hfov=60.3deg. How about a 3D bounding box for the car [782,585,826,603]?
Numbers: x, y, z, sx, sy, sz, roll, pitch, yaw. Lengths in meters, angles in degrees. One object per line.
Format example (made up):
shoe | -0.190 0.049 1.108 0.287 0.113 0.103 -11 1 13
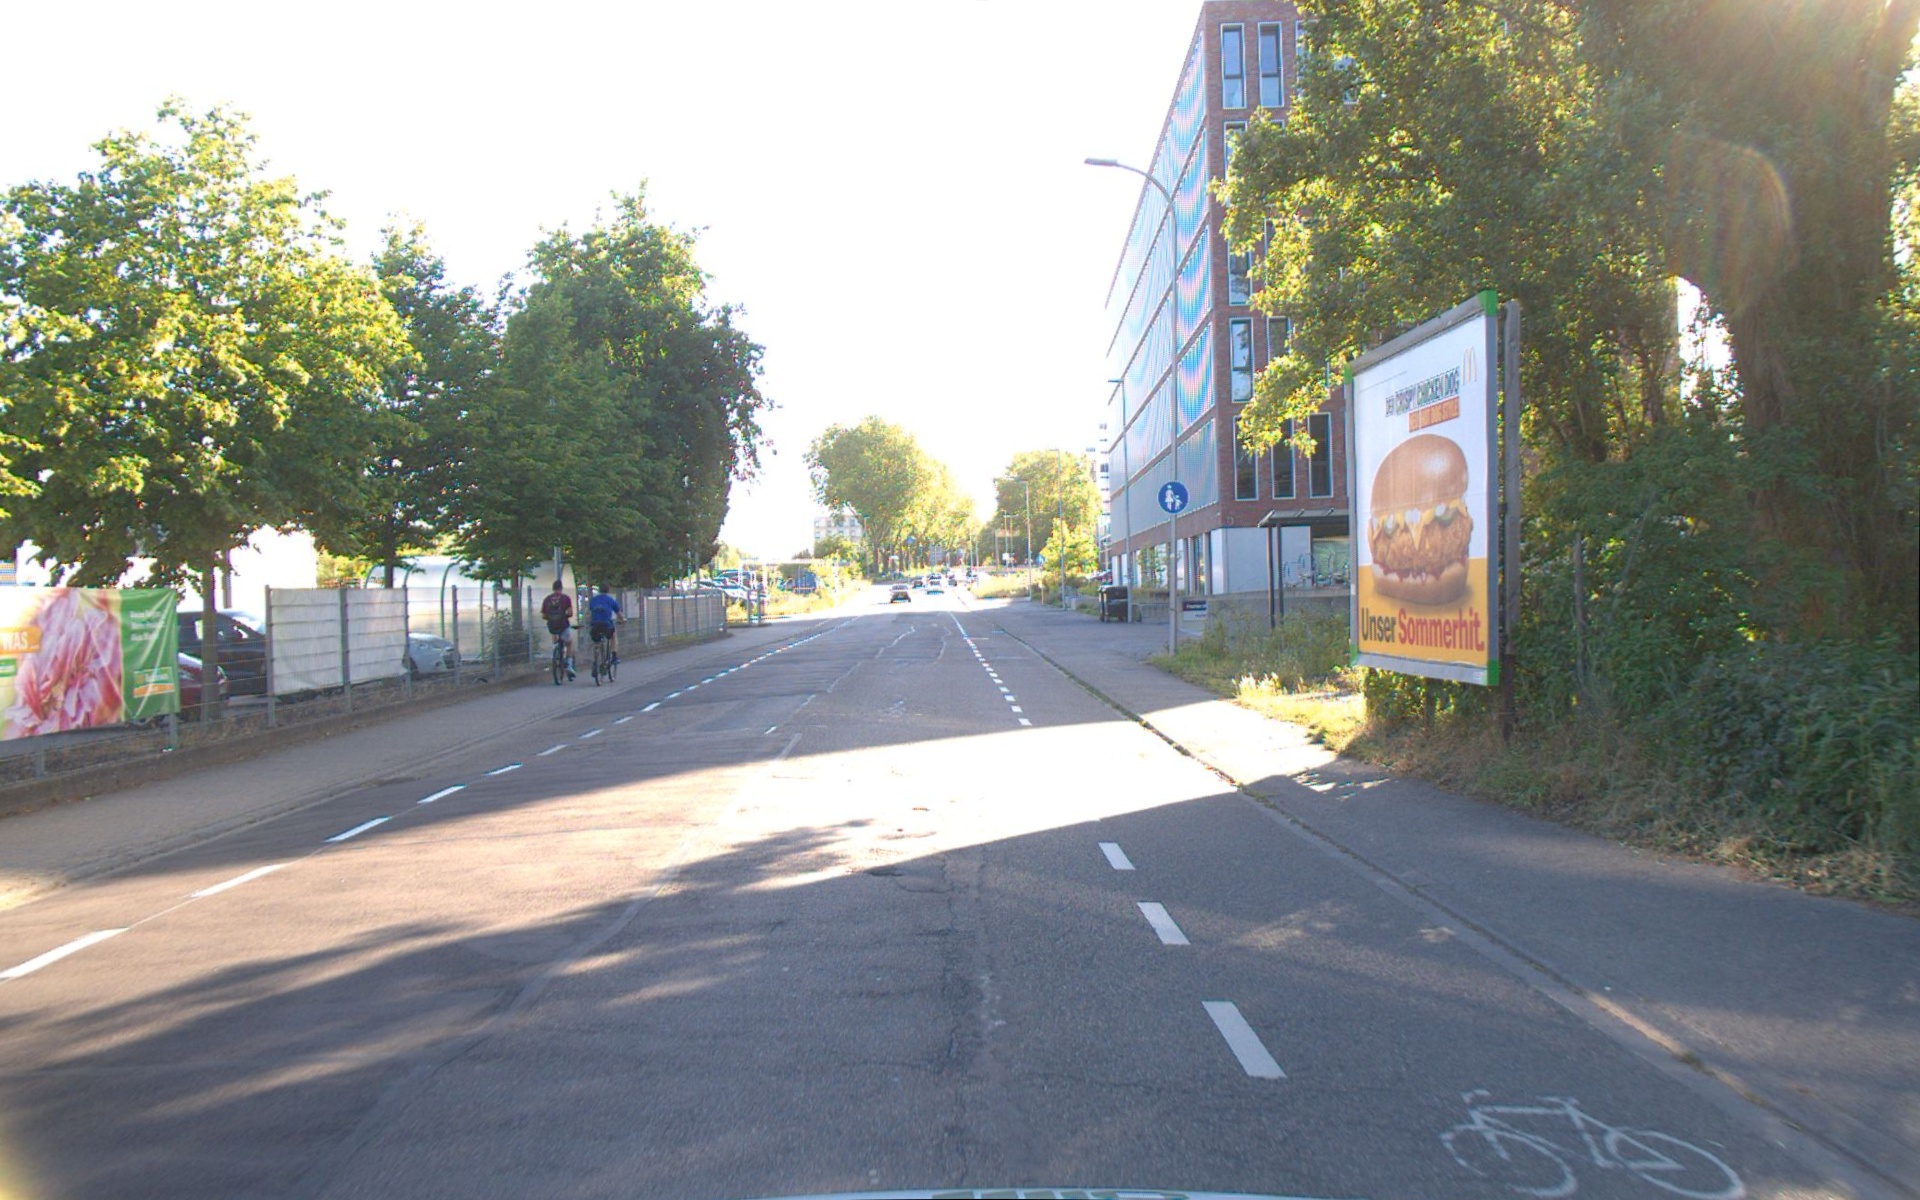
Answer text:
car | -17.355 -0.690 184.581 4.747 1.867 1.999 -1 1 -2

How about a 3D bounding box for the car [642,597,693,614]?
car | -26.595 0.530 150.441 4.233 1.417 1.878 -1 1 0

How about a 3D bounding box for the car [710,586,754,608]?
car | -27.229 -0.368 197.776 4.827 2.502 2.319 -2 0 -2

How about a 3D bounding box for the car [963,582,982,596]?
car | 1.542 -1.372 207.622 2.121 1.713 3.997 -2 0 -4

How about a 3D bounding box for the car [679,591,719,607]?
car | -27.097 -0.110 171.938 3.804 1.631 1.878 -1 1 -2

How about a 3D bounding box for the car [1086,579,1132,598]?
car | 13.705 -1.068 152.039 4.097 1.608 1.852 -2 0 2

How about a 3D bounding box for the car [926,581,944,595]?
car | -2.563 -1.241 169.093 1.753 1.445 4.000 -1 1 0

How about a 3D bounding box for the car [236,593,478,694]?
car | -11.282 0.790 31.164 3.814 1.537 1.784 -5 0 -4

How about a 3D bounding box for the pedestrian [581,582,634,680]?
pedestrian | -6.468 0.563 30.398 0.706 1.750 1.057 -2 0 -1

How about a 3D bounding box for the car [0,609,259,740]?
car | -11.882 1.025 22.691 3.653 1.476 1.805 -5 0 -3

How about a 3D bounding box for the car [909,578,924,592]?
car | -5.195 -1.823 198.522 1.620 1.529 4.000 -3 0 0

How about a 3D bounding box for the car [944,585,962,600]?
car | -0.806 -0.885 202.185 2.119 1.713 4.000 -2 0 0

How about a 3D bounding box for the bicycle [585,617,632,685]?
bicycle | -6.468 0.912 30.521 0.437 1.168 2.200 0 0 -1

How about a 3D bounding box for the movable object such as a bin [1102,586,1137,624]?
movable object such as a bin | 5.953 0.181 61.927 1.106 1.395 1.345 -2 0 -2

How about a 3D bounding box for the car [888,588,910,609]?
car | -5.044 -0.108 137.024 1.706 1.552 4.110 -5 1 -2

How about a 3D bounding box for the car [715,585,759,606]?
car | -27.057 -0.568 200.453 4.993 2.502 2.319 -1 1 -2

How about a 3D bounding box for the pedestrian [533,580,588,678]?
pedestrian | -7.346 0.524 30.430 0.706 1.750 1.057 -2 0 -1

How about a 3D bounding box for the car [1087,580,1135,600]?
car | 13.279 -0.874 145.328 4.097 1.608 1.852 -2 0 2

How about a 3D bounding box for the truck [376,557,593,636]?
truck | -23.524 -0.171 82.179 9.895 3.678 2.775 -1 -1 -2

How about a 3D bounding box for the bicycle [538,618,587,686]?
bicycle | -7.287 0.931 30.368 0.460 1.168 1.869 0 0 -1

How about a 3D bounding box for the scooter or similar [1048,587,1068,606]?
scooter or similar | 6.869 -0.253 115.964 1.312 1.267 0.424 -2 0 3

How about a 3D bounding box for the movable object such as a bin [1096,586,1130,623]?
movable object such as a bin | 5.866 0.171 63.547 1.106 1.359 1.345 -2 0 -2
